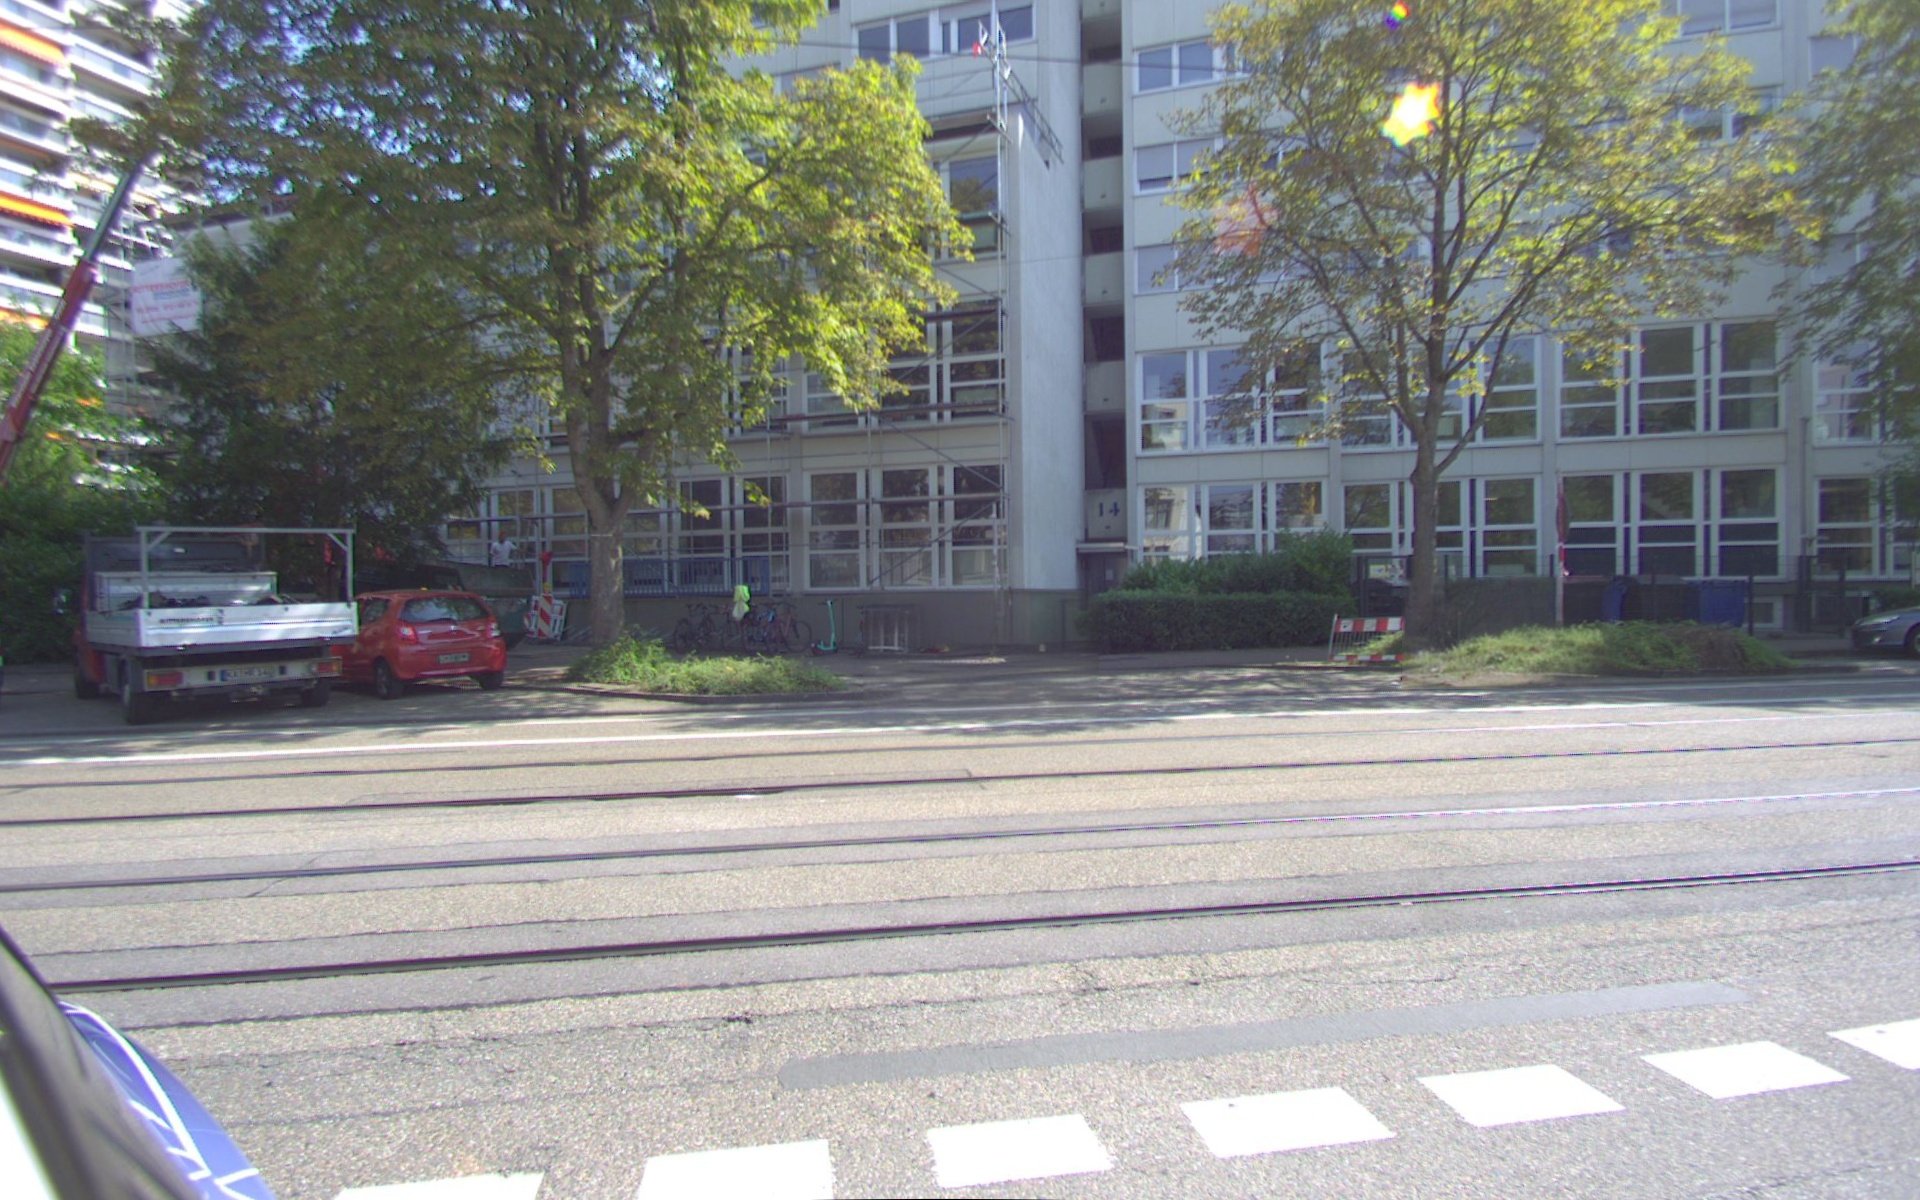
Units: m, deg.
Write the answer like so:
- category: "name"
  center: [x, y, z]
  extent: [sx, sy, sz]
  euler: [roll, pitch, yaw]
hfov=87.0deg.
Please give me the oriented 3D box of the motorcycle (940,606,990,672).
- category: "motorcycle"
  center: [0.121, 0.768, 20.653]
  extent: [0.688, 1.191, 1.839]
  euler: [0, 2, 11]

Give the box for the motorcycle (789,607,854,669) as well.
- category: "motorcycle"
  center: [-2.875, 0.763, 21.230]
  extent: [0.736, 1.163, 2.000]
  euler: [0, 2, 11]

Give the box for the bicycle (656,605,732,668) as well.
- category: "bicycle"
  center: [-5.631, 0.746, 21.593]
  extent: [0.595, 1.168, 2.338]
  euler: [0, 2, 11]

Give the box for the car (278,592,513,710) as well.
- category: "car"
  center: [-8.389, 0.689, 14.915]
  extent: [3.855, 1.519, 1.699]
  euler: [-1, 0, 39]

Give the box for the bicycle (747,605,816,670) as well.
- category: "bicycle"
  center: [-3.696, 0.748, 21.186]
  extent: [0.595, 1.177, 2.338]
  euler: [0, 2, 11]

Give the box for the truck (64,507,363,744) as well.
- category: "truck"
  center: [-10.020, 0.262, 13.329]
  extent: [5.969, 2.453, 2.120]
  euler: [0, 0, 43]

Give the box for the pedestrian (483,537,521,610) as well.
- category: "pedestrian"
  center: [-11.531, -0.657, 25.454]
  extent: [0.728, 1.801, 0.832]
  euler: [-1, 0, -32]

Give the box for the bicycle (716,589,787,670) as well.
- category: "bicycle"
  center: [-4.356, 0.577, 21.321]
  extent: [0.595, 1.537, 2.338]
  euler: [0, 2, 11]

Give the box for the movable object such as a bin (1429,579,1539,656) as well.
- category: "movable object such as a bin"
  center: [11.304, 0.373, 21.904]
  extent: [1.332, 1.571, 1.692]
  euler: [-1, 0, -10]

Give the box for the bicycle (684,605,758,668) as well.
- category: "bicycle"
  center: [-5.025, 0.742, 21.454]
  extent: [0.595, 1.168, 2.338]
  euler: [0, 2, 11]

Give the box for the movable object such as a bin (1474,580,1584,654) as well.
- category: "movable object such as a bin"
  center: [12.633, 0.366, 22.554]
  extent: [1.332, 1.571, 1.692]
  euler: [-1, 0, -10]

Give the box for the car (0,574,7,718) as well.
- category: "car"
  center: [-14.125, 0.622, 13.280]
  extent: [4.281, 1.785, 1.802]
  euler: [-1, 0, 39]

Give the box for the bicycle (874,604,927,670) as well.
- category: "bicycle"
  center: [-1.191, 0.729, 20.758]
  extent: [0.615, 1.177, 2.340]
  euler: [0, 2, 8]

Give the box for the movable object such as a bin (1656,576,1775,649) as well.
- category: "movable object such as a bin"
  center: [17.206, 0.272, 23.109]
  extent: [1.332, 1.571, 1.692]
  euler: [-1, 0, -10]

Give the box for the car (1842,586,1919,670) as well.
- category: "car"
  center: [18.515, 0.435, 17.516]
  extent: [4.678, 1.463, 1.657]
  euler: [-2, 0, 36]

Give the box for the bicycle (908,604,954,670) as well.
- category: "bicycle"
  center: [-0.569, 0.713, 20.653]
  extent: [0.555, 1.177, 2.340]
  euler: [0, 2, 8]

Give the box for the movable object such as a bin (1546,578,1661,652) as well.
- category: "movable object such as a bin"
  center: [14.277, 0.323, 22.526]
  extent: [1.332, 1.571, 1.692]
  euler: [-1, 0, -10]

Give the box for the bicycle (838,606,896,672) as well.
- category: "bicycle"
  center: [-1.878, 0.764, 20.855]
  extent: [0.615, 1.177, 2.340]
  euler: [0, 2, 9]

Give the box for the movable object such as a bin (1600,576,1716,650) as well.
- category: "movable object such as a bin"
  center: [15.765, 0.286, 22.922]
  extent: [1.332, 1.571, 1.692]
  euler: [-1, 0, -10]
